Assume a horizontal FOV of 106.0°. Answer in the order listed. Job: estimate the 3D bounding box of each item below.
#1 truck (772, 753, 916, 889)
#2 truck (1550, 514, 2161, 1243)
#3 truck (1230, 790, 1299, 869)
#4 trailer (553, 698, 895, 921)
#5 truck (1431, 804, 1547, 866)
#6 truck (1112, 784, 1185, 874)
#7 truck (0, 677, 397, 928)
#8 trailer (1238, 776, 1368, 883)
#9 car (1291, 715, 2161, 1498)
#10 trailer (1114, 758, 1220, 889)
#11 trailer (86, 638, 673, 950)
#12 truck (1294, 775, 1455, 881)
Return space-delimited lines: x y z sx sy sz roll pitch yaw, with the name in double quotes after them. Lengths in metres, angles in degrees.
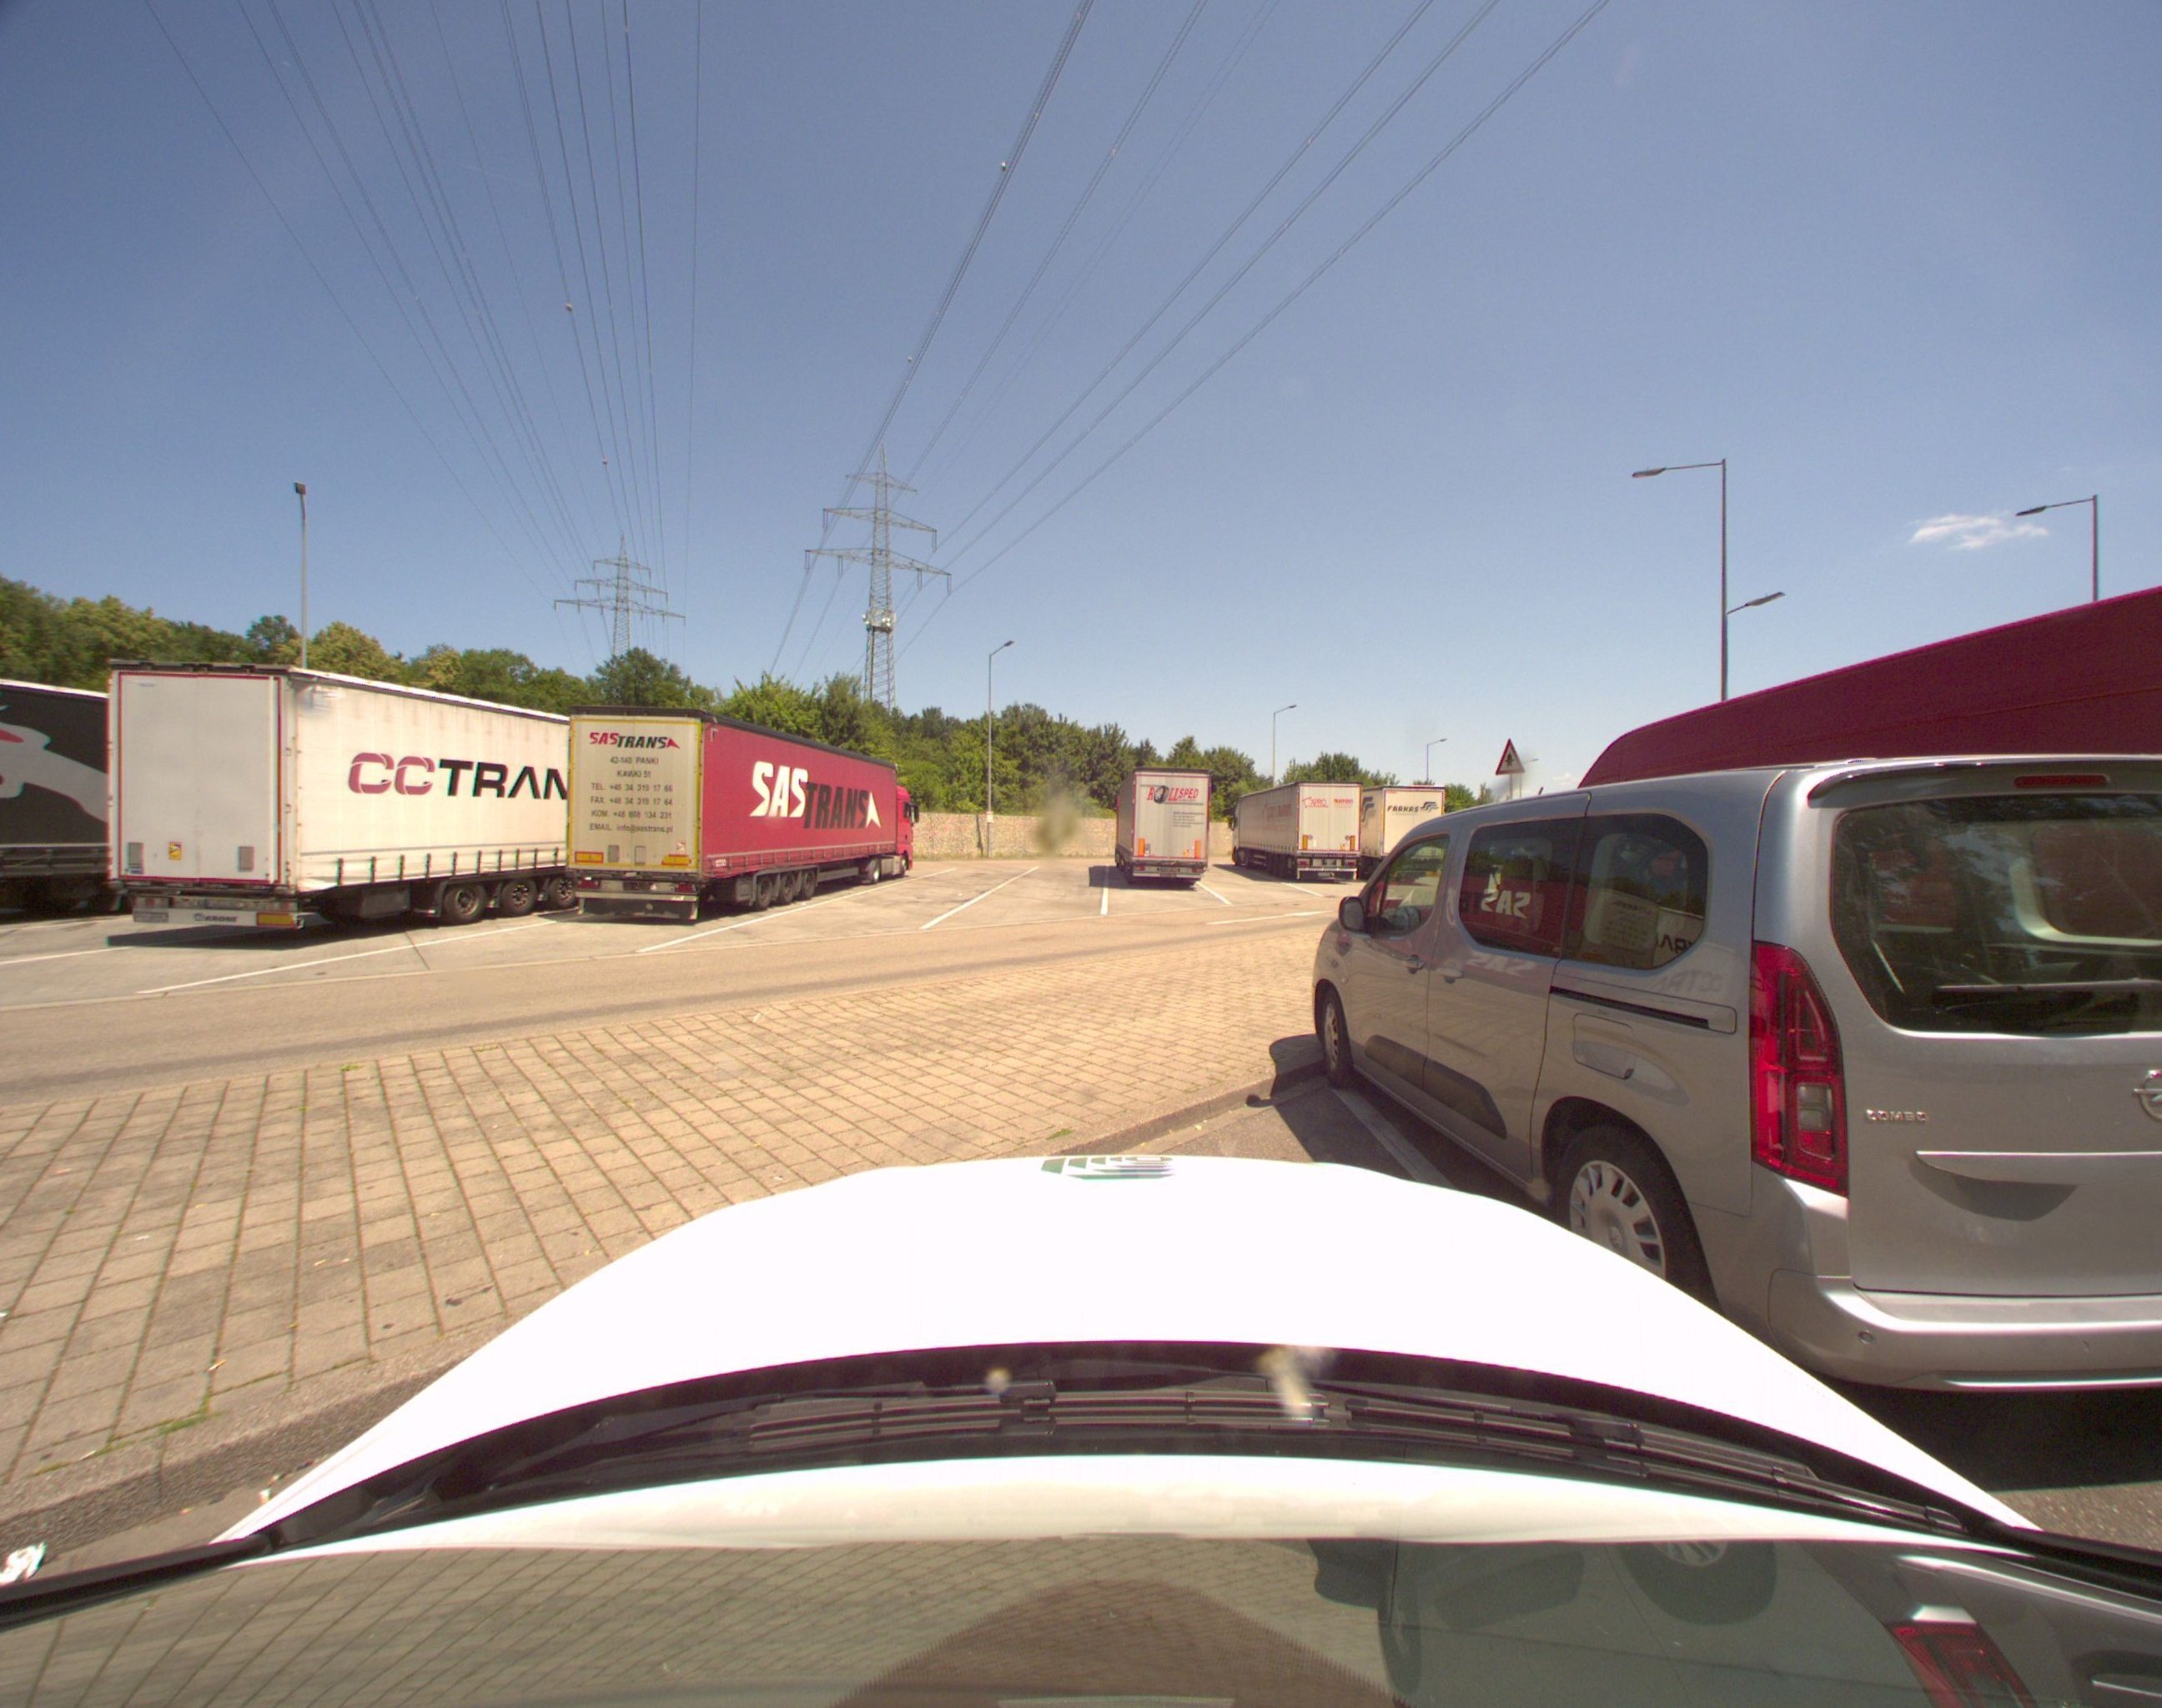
-7.842 -1.053 28.022 2.733 4.081 6.832 -1 1 1 "truck"
5.098 0.050 4.880 1.983 2.623 5.312 -1 1 6 "truck"
10.124 -1.344 45.420 2.747 4.124 5.286 -1 1 2 "truck"
-8.048 -0.920 21.538 2.739 4.057 13.292 -1 1 2 "trailer"
24.458 -1.131 49.444 3.013 3.437 8.534 -1 1 2 "truck"
3.124 -1.223 39.518 3.016 3.928 6.848 1 2 1 "truck"
-18.514 -0.858 15.971 2.627 4.018 8.640 -1 1 2 "truck"
9.937 -1.068 38.417 2.865 4.124 13.577 0 1 2 "trailer"
2.468 0.529 3.858 1.821 1.753 3.998 -1 1 -2 "car"
3.042 -1.189 32.746 3.059 4.227 12.811 1 2 1 "trailer"
-12.102 -0.897 16.078 2.734 4.263 9.740 0 1 3 "trailer"
13.574 -1.153 39.661 2.894 4.124 14.533 2 1 2 "truck"
